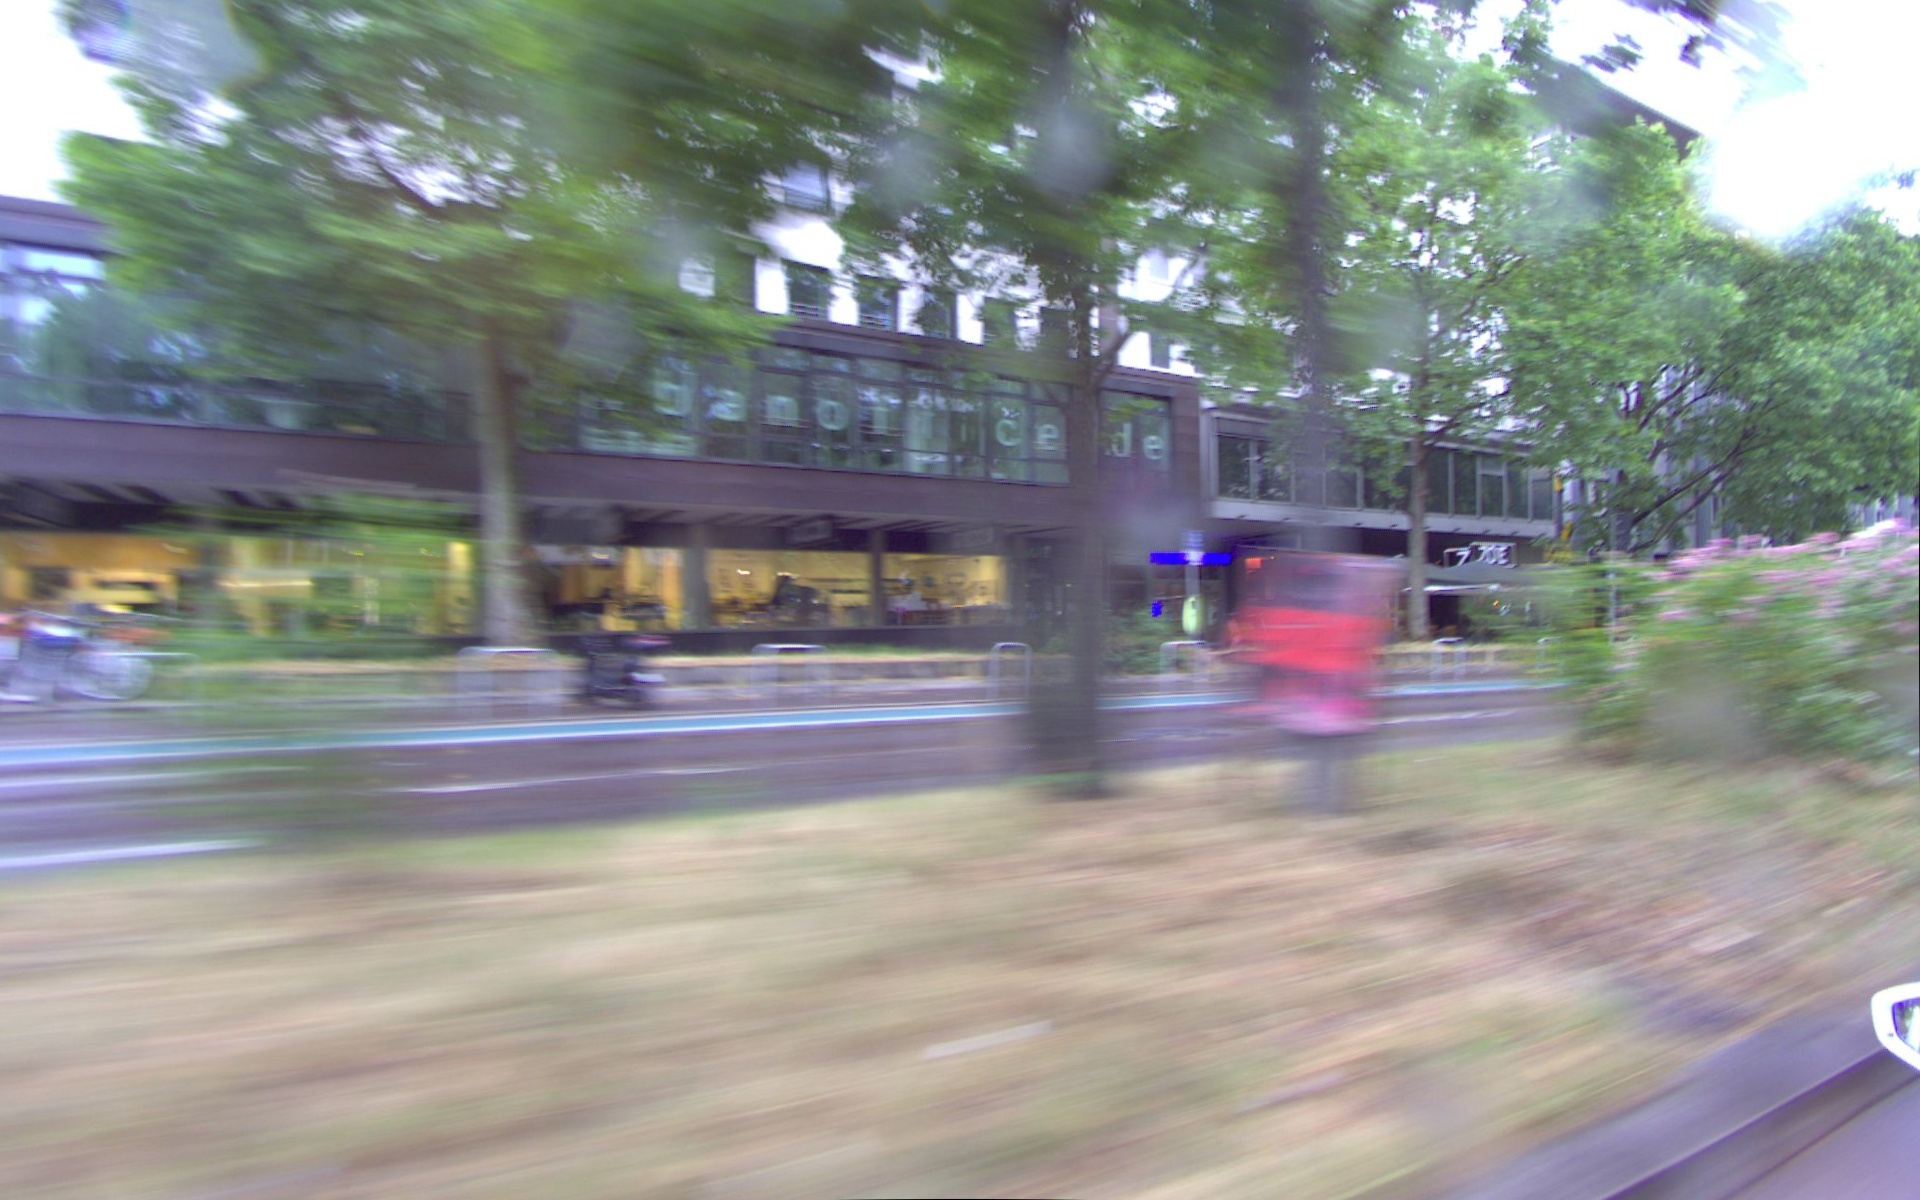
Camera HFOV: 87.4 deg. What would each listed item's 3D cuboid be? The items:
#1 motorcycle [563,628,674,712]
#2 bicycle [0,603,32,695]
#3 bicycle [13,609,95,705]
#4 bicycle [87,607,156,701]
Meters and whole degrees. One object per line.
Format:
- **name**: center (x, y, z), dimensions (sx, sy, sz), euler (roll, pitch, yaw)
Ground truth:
- **motorcycle**: center (-4.919, 0.974, 14.414), dimensions (1.748, 1.099, 0.495), euler (1, 0, 31)
- **bicycle**: center (-12.677, 0.620, 13.147), dimensions (0.560, 1.152, 1.831), euler (0, -1, -36)
- **bicycle**: center (-11.599, 0.698, 12.902), dimensions (0.560, 1.152, 1.832), euler (0, -1, -35)
- **bicycle**: center (-11.183, 0.690, 13.431), dimensions (0.560, 1.165, 1.832), euler (0, -1, -35)
